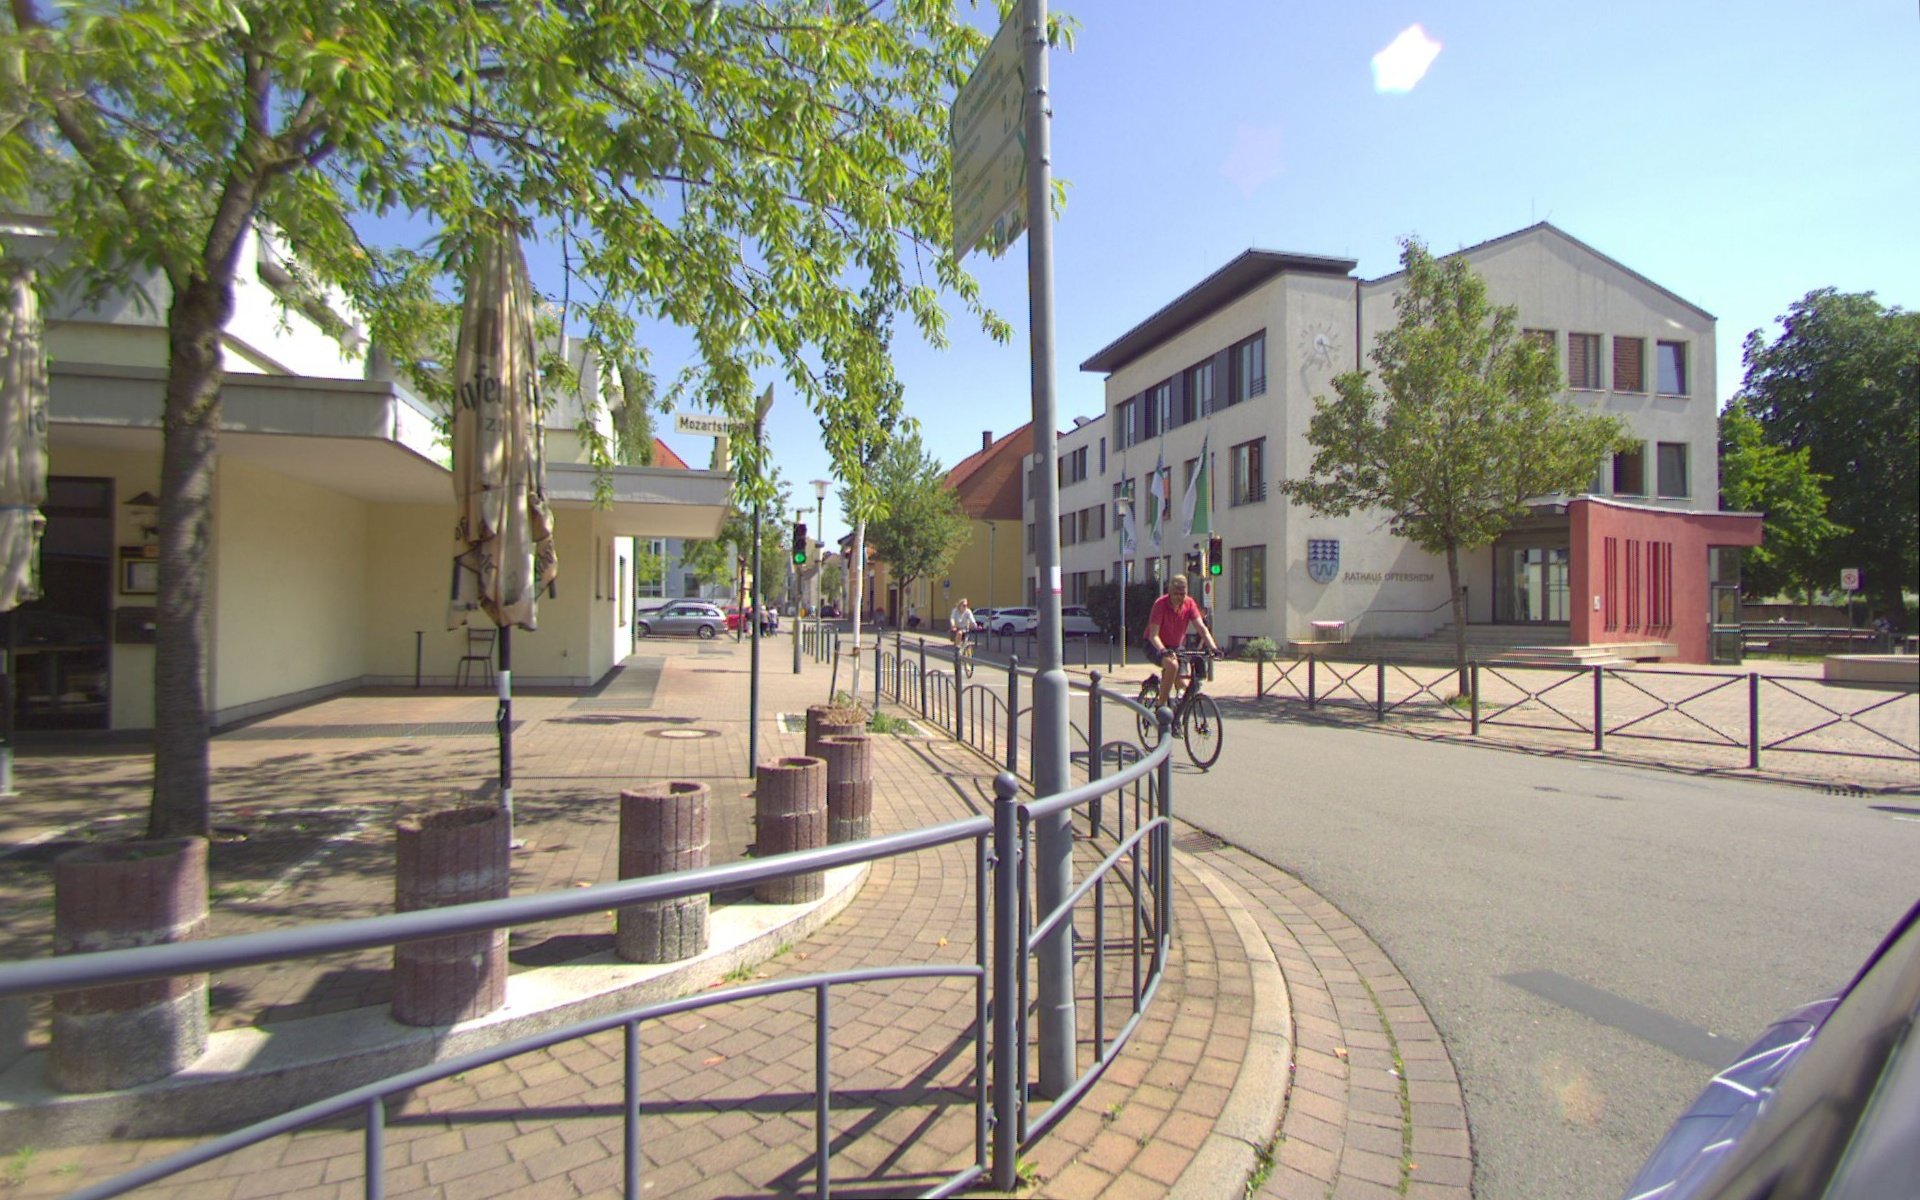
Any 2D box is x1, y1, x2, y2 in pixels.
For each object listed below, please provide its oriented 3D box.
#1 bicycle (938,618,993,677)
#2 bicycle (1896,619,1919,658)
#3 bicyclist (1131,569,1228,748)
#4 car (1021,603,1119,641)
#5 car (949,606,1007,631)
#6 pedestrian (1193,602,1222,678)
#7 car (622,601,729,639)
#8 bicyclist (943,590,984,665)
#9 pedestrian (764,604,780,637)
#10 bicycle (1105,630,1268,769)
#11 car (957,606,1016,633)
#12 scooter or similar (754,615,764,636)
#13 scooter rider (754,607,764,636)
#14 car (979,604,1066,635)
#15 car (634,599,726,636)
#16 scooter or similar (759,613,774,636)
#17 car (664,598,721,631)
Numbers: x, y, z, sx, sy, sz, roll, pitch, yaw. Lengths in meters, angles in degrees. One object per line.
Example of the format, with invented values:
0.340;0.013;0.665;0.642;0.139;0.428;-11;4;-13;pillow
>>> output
0.097;1.006;21.950;0.675;1.205;1.803;2;-1;-16;bicycle
26.965;1.050;27.996;1.913;1.018;0.581;-2;0;-14;bicycle
2.216;0.568;10.287;0.688;1.738;0.761;0;0;-15;bicyclist
4.821;0.963;44.700;3.916;1.567;1.752;-1;-1;-14;car
1.049;1.108;59.944;3.192;1.419;1.377;-1;-1;-14;car
5.426;0.864;22.183;0.543;1.639;0.553;0;0;22;pedestrian
-12.367;0.875;44.062;4.353;1.484;1.694;2;0;-18;car
0.062;0.582;22.109;0.688;1.601;0.880;0;0;-15;bicyclist
-9.027;0.983;48.584;0.502;1.535;1.050;3;-2;-24;pedestrian
2.212;0.944;10.185;0.723;1.205;1.975;2;-1;-16;bicycle
1.488;1.076;57.774;3.076;1.469;1.645;-1;-1;-11;car
-9.457;1.180;47.647;0.403;0.977;0.961;1;-1;-10;scooter or similar
-9.462;1.025;47.668;0.453;1.342;1.135;1;-1;-11;scooter rider
3.246;1.011;52.830;4.237;1.497;1.516;-1;0;-12;car
-12.984;0.816;46.870;3.962;1.579;1.716;2;-1;-18;car
-9.444;1.195;49.453;0.495;1.133;0.910;2;-1;-25;scooter or similar
-14.960;0.812;56.653;2.977;1.759;1.347;2;-1;-17;car
